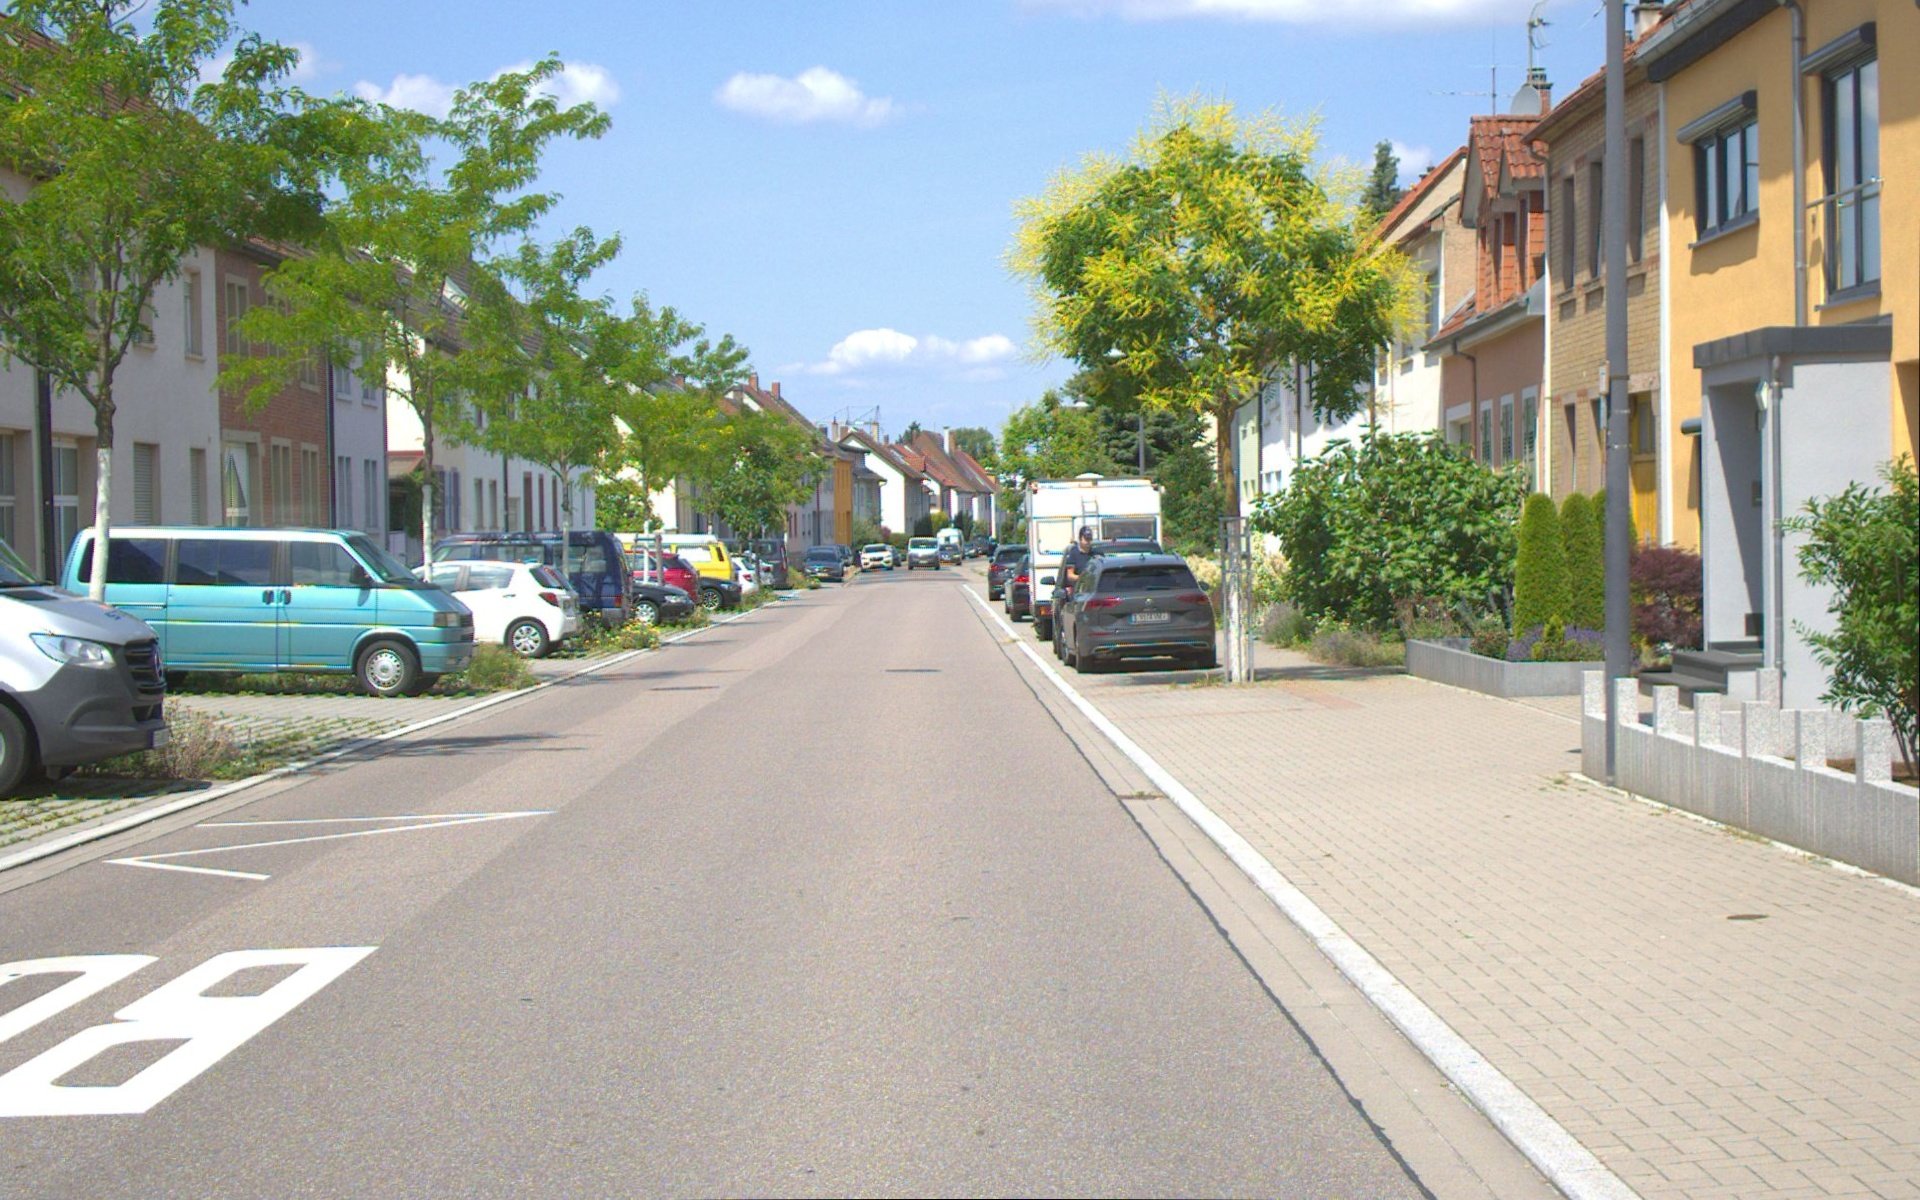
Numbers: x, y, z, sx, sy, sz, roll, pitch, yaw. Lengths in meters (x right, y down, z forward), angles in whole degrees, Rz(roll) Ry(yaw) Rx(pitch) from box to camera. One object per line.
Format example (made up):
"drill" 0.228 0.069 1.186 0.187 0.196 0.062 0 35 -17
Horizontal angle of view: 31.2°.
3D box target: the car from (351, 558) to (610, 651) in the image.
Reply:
"car" -7.766 0.061 55.895 3.916 1.483 1.772 0 1 2

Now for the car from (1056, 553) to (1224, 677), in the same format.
"car" 2.249 0.157 43.863 1.766 1.483 4.297 -1 1 -2

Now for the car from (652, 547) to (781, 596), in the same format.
"car" -8.007 -0.930 113.034 4.182 1.563 1.774 1 0 -3

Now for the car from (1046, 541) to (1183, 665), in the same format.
"car" 2.186 0.010 49.487 1.767 1.699 4.325 -1 1 0

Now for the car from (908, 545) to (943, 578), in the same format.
"car" -2.125 -2.348 208.628 2.022 1.943 4.899 -1 0 -1

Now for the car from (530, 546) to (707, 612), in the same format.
"car" -8.490 -0.531 85.700 4.253 1.606 1.843 0 1 -1

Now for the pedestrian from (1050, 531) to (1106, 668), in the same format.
"pedestrian" 1.604 -0.010 46.744 0.716 1.847 0.578 -1 1 0

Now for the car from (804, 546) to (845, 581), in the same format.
"car" -6.358 -1.709 160.842 1.816 1.428 4.140 3 2 -3

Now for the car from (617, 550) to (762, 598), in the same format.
"car" -8.321 -0.786 106.156 4.295 1.463 1.774 0 0 2

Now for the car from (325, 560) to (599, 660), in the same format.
"car" -7.634 0.139 52.936 3.916 1.483 1.772 0 1 2

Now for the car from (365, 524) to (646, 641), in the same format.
"car" -7.922 -0.320 60.203 4.613 1.989 1.953 0 1 2

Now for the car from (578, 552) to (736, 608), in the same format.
"car" -8.013 -0.536 91.151 4.010 1.454 1.755 0 1 0

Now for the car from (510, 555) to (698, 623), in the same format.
"car" -7.854 -0.255 76.099 4.053 1.473 1.776 0 1 -3

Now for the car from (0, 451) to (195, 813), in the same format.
"car" -7.859 0.165 22.691 5.165 2.280 2.157 1 1 -2

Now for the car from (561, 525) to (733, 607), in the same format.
"car" -8.507 -0.931 93.606 4.508 2.170 1.925 0 1 0

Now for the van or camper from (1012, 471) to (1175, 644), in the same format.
"van or camper" 2.265 -0.769 59.978 2.473 2.800 5.791 -2 1 0

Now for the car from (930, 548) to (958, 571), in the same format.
"car" -1.112 -2.822 237.520 1.762 1.517 4.049 -2 1 -1

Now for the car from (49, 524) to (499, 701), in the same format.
"car" -7.733 0.131 39.072 4.677 1.900 2.000 1 0 1

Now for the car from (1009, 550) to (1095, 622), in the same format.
"car" 1.974 -0.326 74.816 1.767 1.524 4.007 -1 1 0

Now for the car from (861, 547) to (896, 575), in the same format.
"car" -4.945 -2.384 209.749 1.850 1.653 4.000 1 1 3

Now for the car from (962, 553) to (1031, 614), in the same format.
"car" 1.100 -0.509 101.934 1.864 1.630 4.446 -3 1 2

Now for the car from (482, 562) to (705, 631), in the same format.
"car" -7.704 -0.080 72.593 4.524 1.421 1.796 0 1 0
